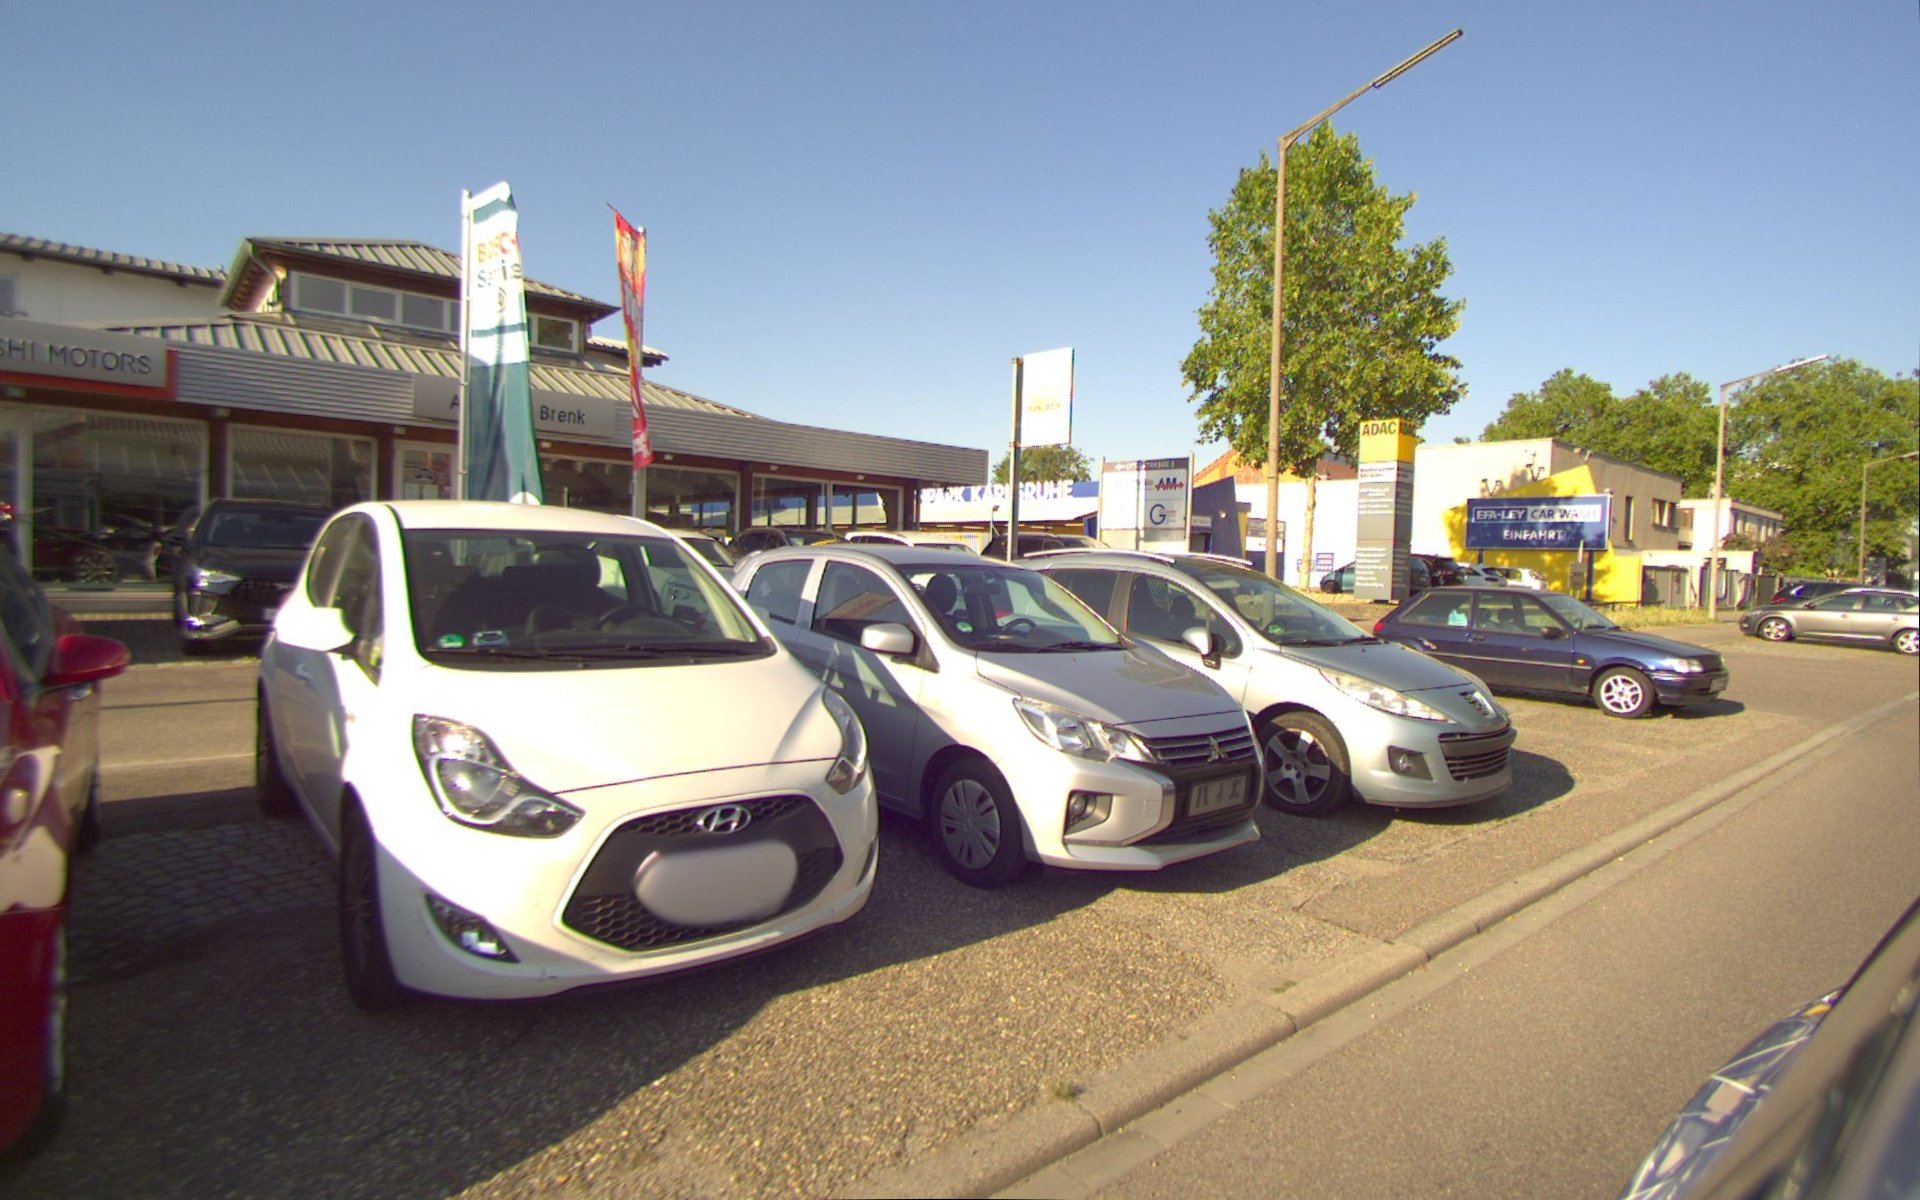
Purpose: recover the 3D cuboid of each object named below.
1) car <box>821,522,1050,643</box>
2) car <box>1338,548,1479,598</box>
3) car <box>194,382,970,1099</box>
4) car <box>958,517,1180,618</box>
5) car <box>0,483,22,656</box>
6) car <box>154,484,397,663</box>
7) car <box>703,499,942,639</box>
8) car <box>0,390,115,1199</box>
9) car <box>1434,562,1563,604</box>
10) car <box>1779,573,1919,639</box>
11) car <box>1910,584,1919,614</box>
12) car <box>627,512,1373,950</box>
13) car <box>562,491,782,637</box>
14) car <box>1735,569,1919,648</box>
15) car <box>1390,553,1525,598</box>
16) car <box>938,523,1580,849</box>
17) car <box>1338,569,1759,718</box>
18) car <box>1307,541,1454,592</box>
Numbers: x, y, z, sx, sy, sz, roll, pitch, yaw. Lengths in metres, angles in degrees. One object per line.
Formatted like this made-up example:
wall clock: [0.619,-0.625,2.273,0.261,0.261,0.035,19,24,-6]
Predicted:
car: [-0.544,-0.335,18.748,2.163,1.922,3.941,4,0,-41]
car: [15.336,-0.916,34.706,1.967,1.615,3.990,0,1,-44]
car: [-2.050,0.291,4.621,1.853,1.761,4.112,0,1,-44]
car: [2.241,-0.690,21.853,2.163,1.922,4.504,0,2,-41]
car: [-10.632,-0.359,9.865,1.965,1.679,3.998,0,4,-40]
car: [-8.164,-0.412,11.904,1.965,1.717,3.998,0,4,-40]
car: [-2.394,-0.581,16.914,2.163,1.920,3.810,1,5,-40]
car: [-3.533,0.417,2.819,1.714,1.625,4.252,0,1,-39]
car: [20.613,-0.662,38.816,1.967,1.515,3.990,0,1,-44]
car: [27.168,0.194,29.572,1.963,1.598,4.617,0,6,-38]
car: [52.413,0.156,52.270,1.966,1.544,4.636,0,6,-42]
car: [-0.059,0.365,5.955,2.025,1.637,4.114,0,3,-44]
car: [-4.466,-0.590,15.370,1.756,1.921,3.911,-2,4,-40]
car: [23.096,0.213,26.022,1.965,1.632,4.613,0,6,-41]
car: [17.942,-0.878,36.596,1.921,1.538,3.990,0,1,-44]
car: [1.884,0.334,7.275,1.837,1.607,3.993,0,4,-44]
car: [6.913,0.392,12.271,1.751,1.311,4.000,0,4,-37]
car: [13.706,-1.078,33.103,1.967,1.538,3.990,0,1,-44]
